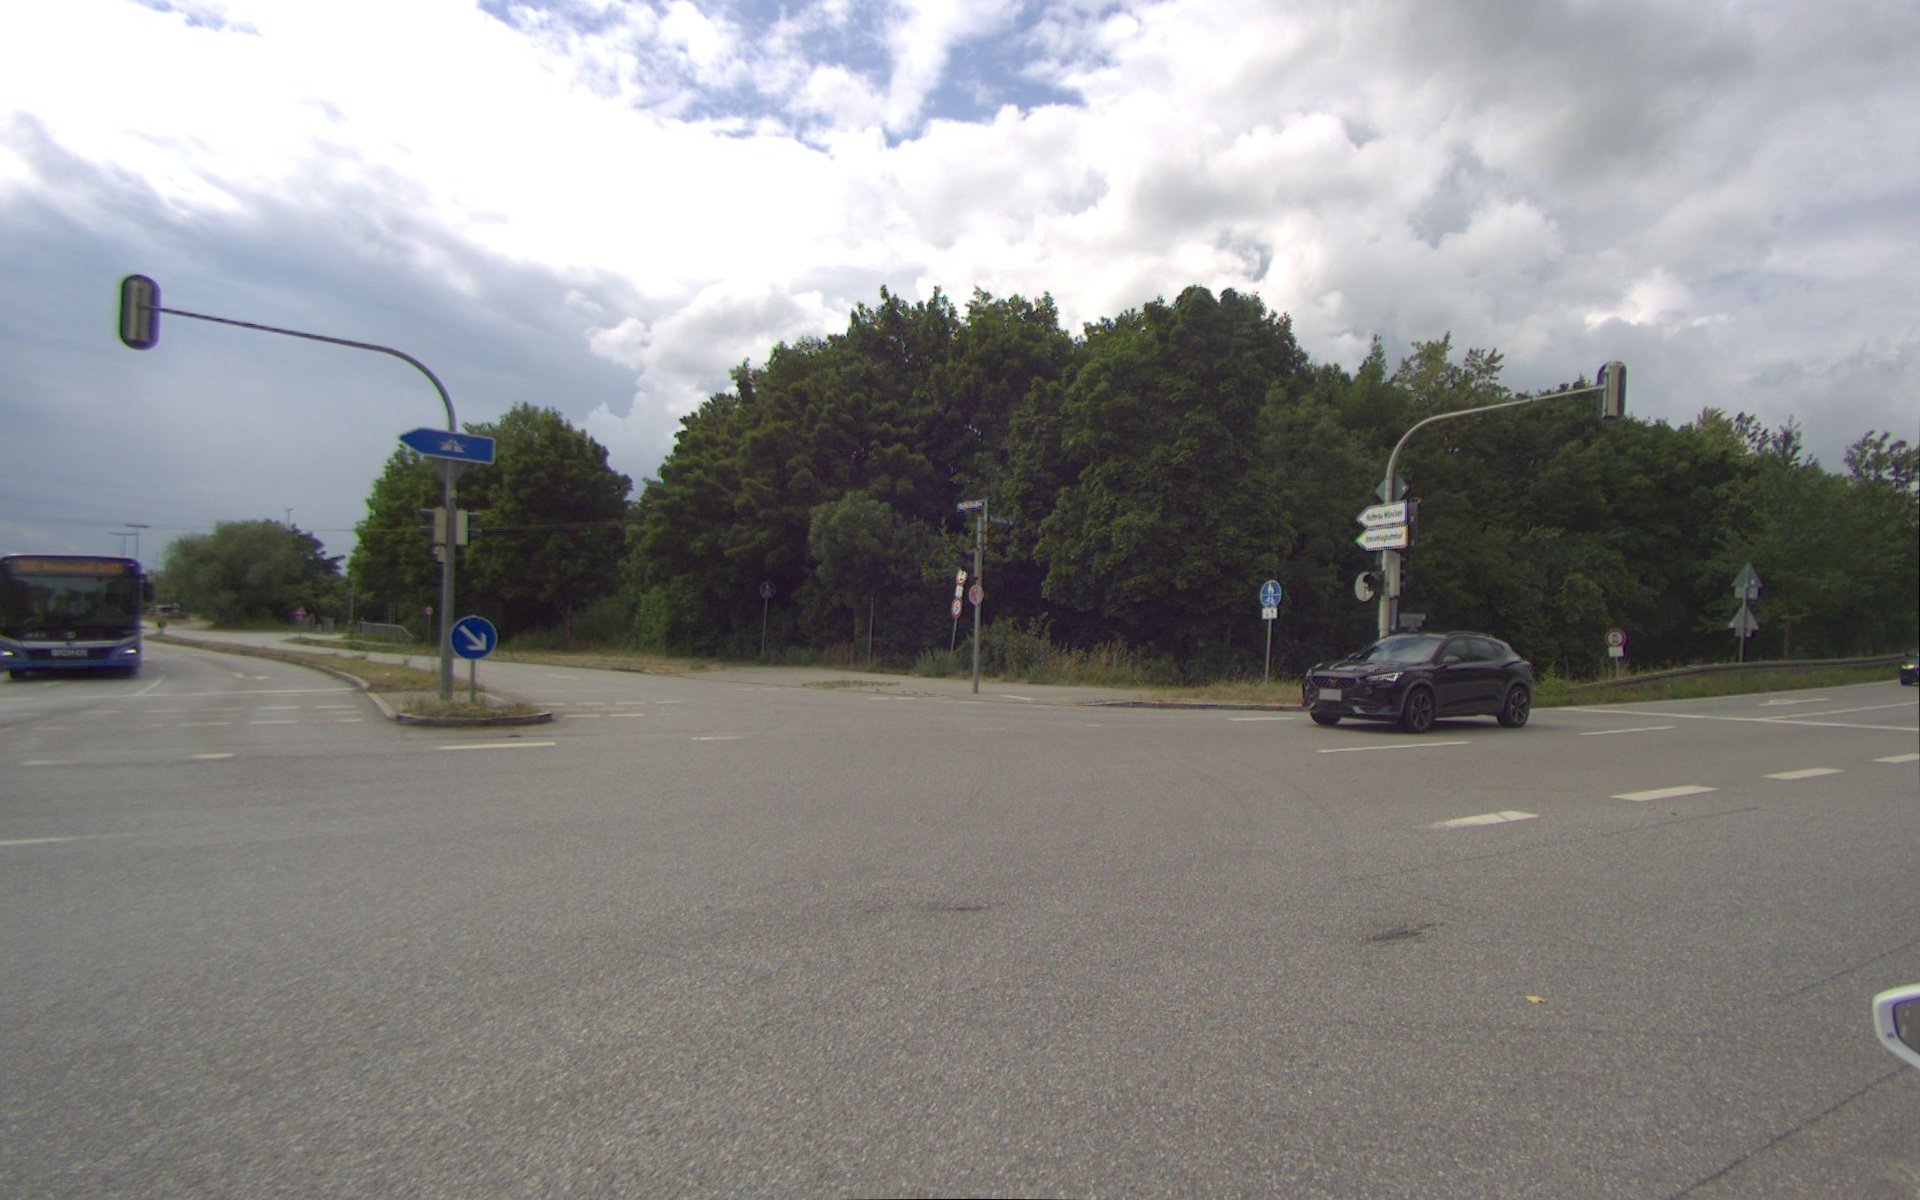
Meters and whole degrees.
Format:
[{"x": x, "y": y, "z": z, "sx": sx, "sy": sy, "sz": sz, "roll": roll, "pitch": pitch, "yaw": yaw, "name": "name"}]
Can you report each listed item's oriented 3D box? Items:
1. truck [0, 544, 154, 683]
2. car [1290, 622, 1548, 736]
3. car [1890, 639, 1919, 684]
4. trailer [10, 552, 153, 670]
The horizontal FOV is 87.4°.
[{"x": -22.771, "y": 0.319, "z": 26.028, "sx": 2.863, "sy": 3.077, "sz": 7.851, "roll": 1, "pitch": -1, "yaw": -39, "name": "truck"}, {"x": 7.341, "y": 1.194, "z": 15.975, "sx": 4.156, "sy": 1.603, "sz": 1.753, "roll": 2, "pitch": -2, "yaw": -32, "name": "car"}, {"x": 32.296, "y": 1.980, "z": 32.917, "sx": 4.206, "sy": 1.424, "sz": 1.727, "roll": 1, "pitch": -3, "yaw": -34, "name": "car"}, {"x": -26.924, "y": 0.309, "z": 31.148, "sx": 2.863, "sy": 3.077, "sz": 10.632, "roll": 1, "pitch": -1, "yaw": -39, "name": "trailer"}]
